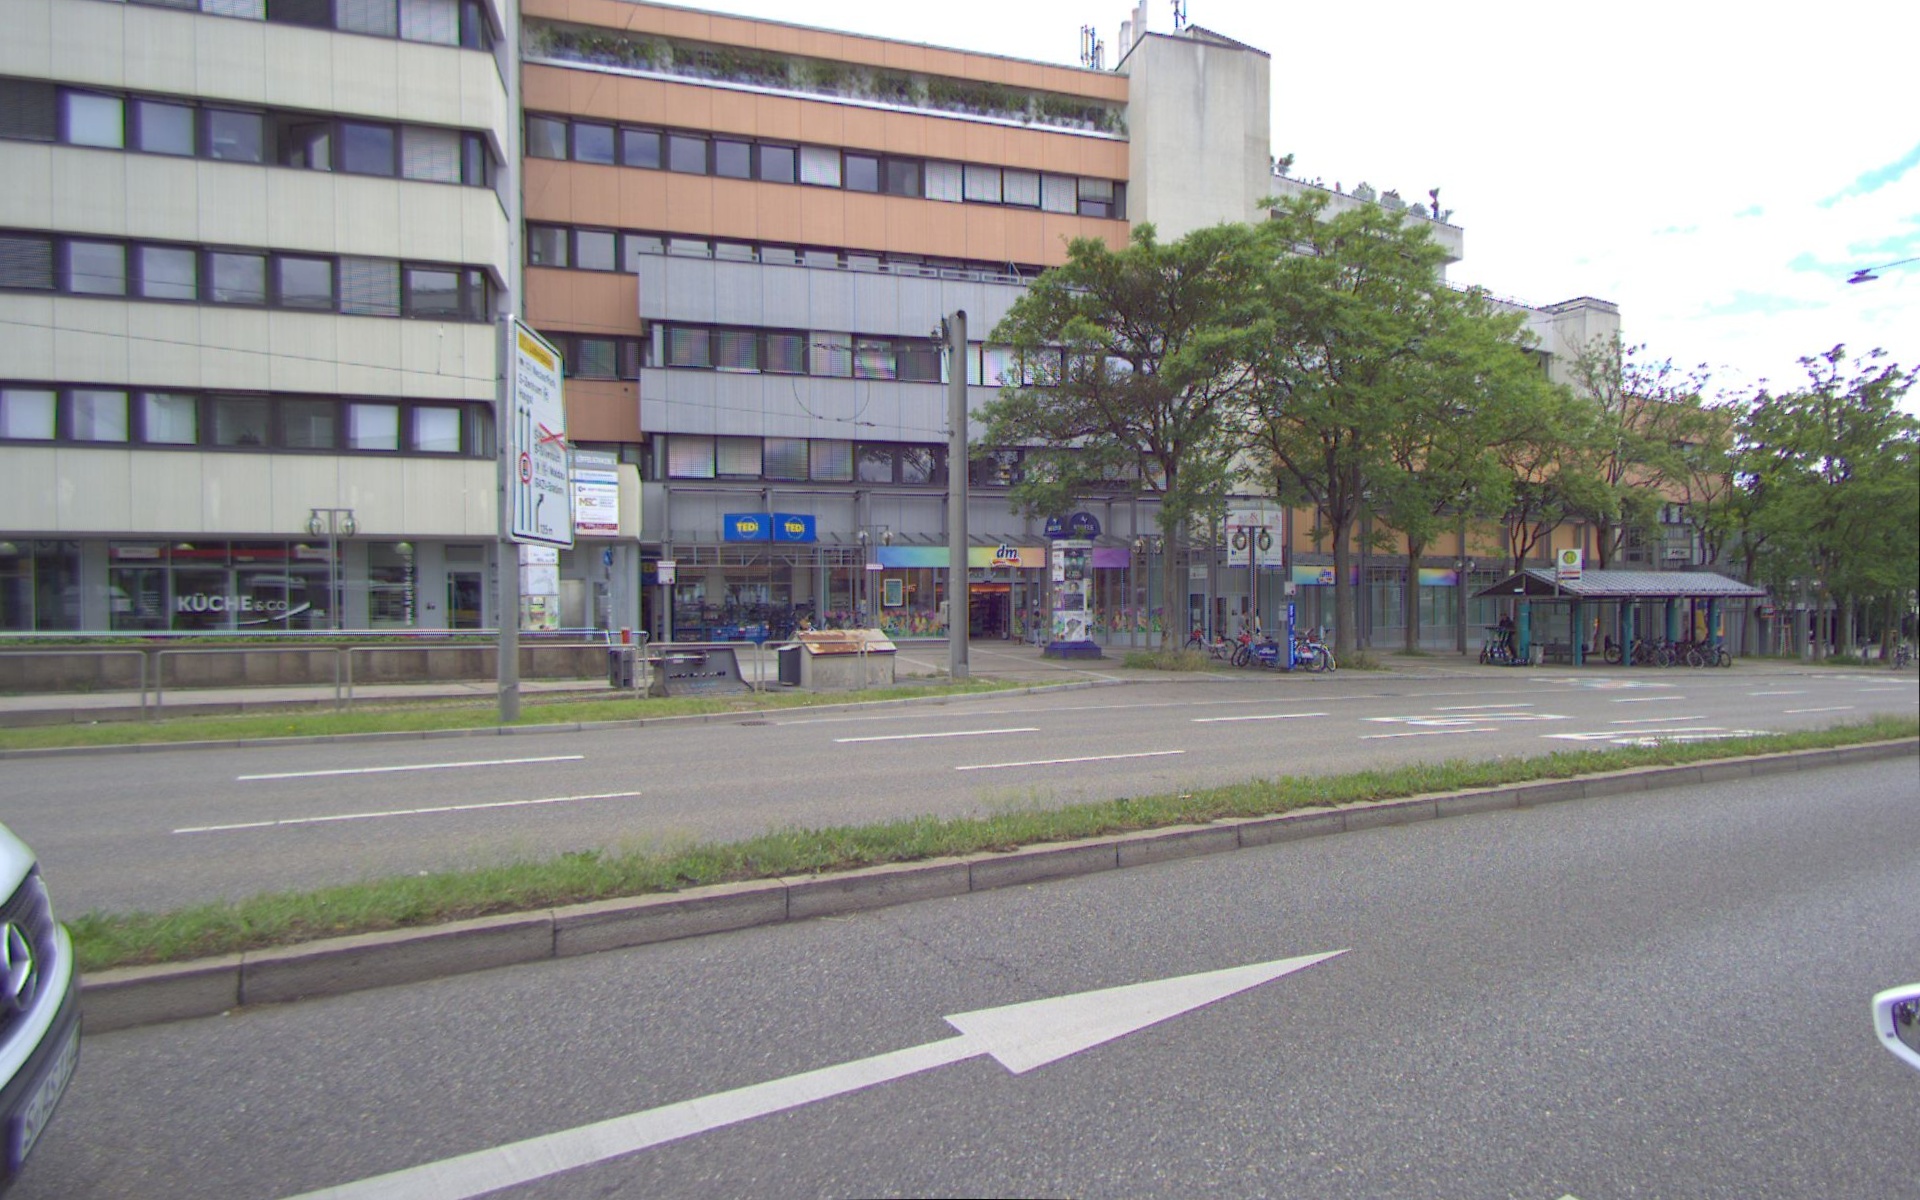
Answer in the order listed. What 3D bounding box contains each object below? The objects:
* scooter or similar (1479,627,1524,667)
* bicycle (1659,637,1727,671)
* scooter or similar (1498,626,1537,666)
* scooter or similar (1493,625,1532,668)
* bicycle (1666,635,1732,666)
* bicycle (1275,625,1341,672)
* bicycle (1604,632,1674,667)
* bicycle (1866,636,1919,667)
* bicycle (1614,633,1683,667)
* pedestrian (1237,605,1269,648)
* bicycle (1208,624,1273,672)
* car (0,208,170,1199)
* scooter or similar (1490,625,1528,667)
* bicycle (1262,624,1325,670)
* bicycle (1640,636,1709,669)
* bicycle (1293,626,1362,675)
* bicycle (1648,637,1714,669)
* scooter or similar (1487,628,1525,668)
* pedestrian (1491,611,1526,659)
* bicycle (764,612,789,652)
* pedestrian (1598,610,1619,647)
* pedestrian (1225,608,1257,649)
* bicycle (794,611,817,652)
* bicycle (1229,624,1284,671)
[{"bbox_3d":[18.217,1.568,33.809,0.335,1.286,1.315,1,1,-30],"label":"scooter or similar"},{"bbox_3d":[29.601,2.170,40.604,0.705,1.169,2.048,1,2,-38],"label":"bicycle"},{"bbox_3d":[19.161,1.586,34.552,0.256,1.338,1.196,1,-1,-30],"label":"scooter or similar"},{"bbox_3d":[18.907,1.581,34.402,0.256,1.442,1.196,1,-1,-30],"label":"scooter or similar"},{"bbox_3d":[30.362,2.079,41.283,0.705,1.169,2.048,1,0,-38],"label":"bicycle"},{"bbox_3d":[9.700,1.345,28.062,1.649,1.270,0.627,1,-1,9],"label":"bicycle"},{"bbox_3d":[25.792,1.865,38.204,0.705,1.169,2.048,1,2,-38],"label":"bicycle"},{"bbox_3d":[40.903,2.251,43.996,2.394,1.288,1.047,1,1,-28],"label":"bicycle"},{"bbox_3d":[26.673,1.934,38.942,0.705,1.169,2.048,1,1,-38],"label":"bicycle"},{"bbox_3d":[11.415,1.027,39.134,0.984,1.639,0.730,1,-1,-28],"label":"pedestrian"},{"bbox_3d":[7.644,1.305,27.470,1.649,1.270,0.627,1,-1,10],"label":"bicycle"},{"bbox_3d":[-3.847,0.423,0.668,5.020,2.041,1.863,0,2,-32],"label":"car"},{"bbox_3d":[18.706,1.563,34.217,0.219,1.403,1.196,1,-1,-30],"label":"scooter or similar"},{"bbox_3d":[9.643,1.357,29.077,1.649,1.270,0.627,1,-1,9],"label":"bicycle"},{"bbox_3d":[27.746,2.014,39.041,0.705,1.169,2.048,1,0,-38],"label":"bicycle"},{"bbox_3d":[9.904,1.362,27.085,1.649,1.270,0.627,1,-1,9],"label":"bicycle"},{"bbox_3d":[28.748,2.105,40.067,0.705,1.169,2.049,1,-1,-38],"label":"bicycle"},{"bbox_3d":[18.495,1.617,34.040,0.265,1.312,1.121,1,-1,-31],"label":"scooter or similar"},{"bbox_3d":[20.857,1.340,38.176,0.984,1.805,0.730,1,-1,-28],"label":"pedestrian"},{"bbox_3d":[-6.216,1.074,34.130,0.692,1.337,1.972,1,-1,-7],"label":"bicycle"},{"bbox_3d":[29.809,1.309,46.201,0.665,1.665,0.531,1,-1,-23],"label":"pedestrian"},{"bbox_3d":[11.140,1.128,39.891,0.984,1.639,0.730,1,-1,-28],"label":"pedestrian"},{"bbox_3d":[-5.219,1.058,34.009,0.692,1.337,1.972,1,-1,-7],"label":"bicycle"},{"bbox_3d":[8.300,1.324,28.112,1.441,1.270,0.432,1,-1,12],"label":"bicycle"}]
